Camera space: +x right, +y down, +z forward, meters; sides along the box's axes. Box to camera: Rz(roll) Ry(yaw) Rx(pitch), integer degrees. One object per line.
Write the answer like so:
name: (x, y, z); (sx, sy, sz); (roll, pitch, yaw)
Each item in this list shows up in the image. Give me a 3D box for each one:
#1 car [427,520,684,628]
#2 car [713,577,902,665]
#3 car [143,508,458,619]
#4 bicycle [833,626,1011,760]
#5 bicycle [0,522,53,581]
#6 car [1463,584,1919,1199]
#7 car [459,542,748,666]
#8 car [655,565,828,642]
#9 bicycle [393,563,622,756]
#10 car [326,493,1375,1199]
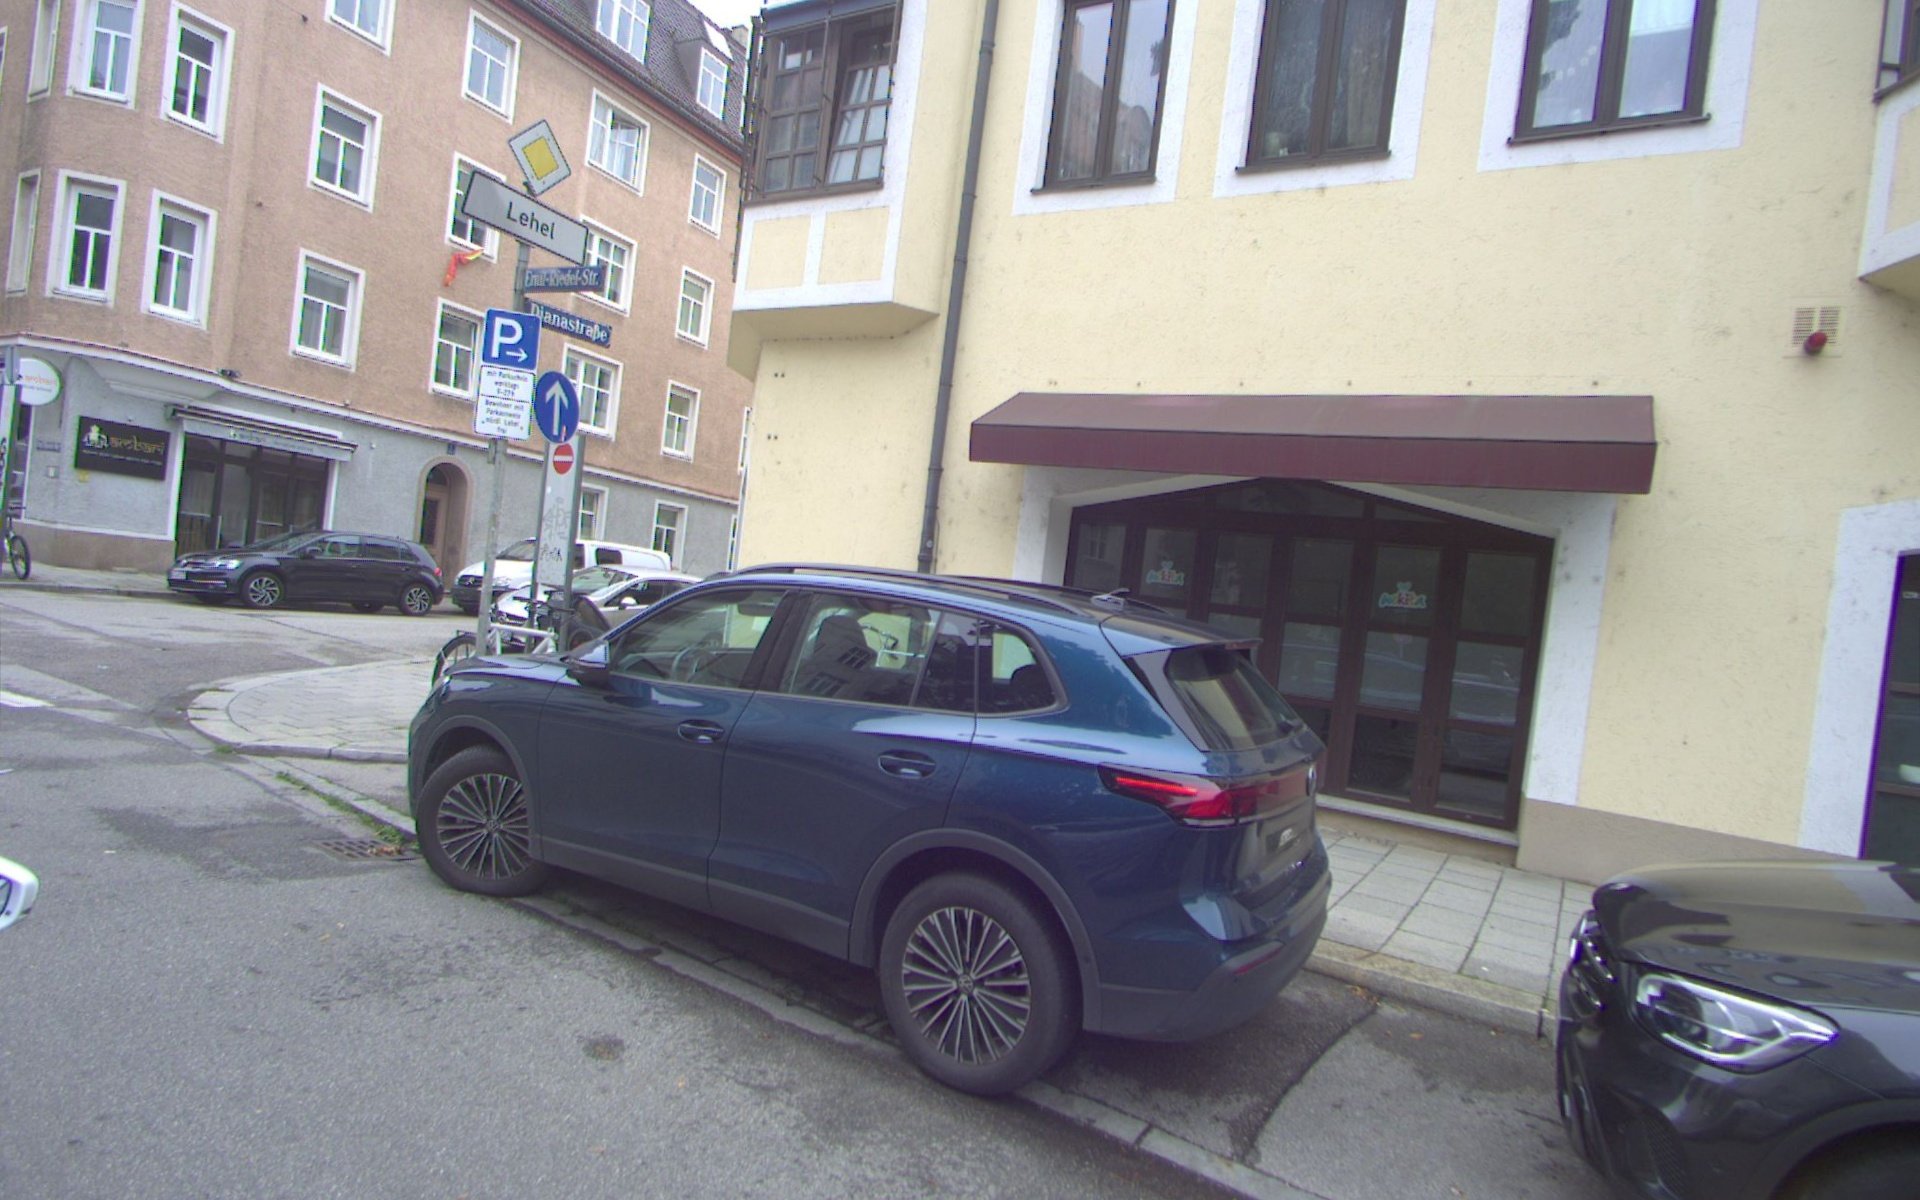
car: (-8.957, -0.502, 22.815); (2.064, 1.876, 5.136); (5, -1, 29)
car: (-3.062, 0.494, 20.915); (1.717, 1.394, 3.812); (9, 1, 31)
car: (-11.395, -0.566, 17.708); (1.893, 1.446, 4.177); (5, -1, 29)
bicycle: (-0.380, 0.839, 9.366); (1.656, 0.989, 0.271); (7, 0, 30)
bicycle: (-14.913, -0.785, 15.901); (1.304, 0.815, 0.457); (7, 0, 32)
car: (3.680, 1.083, 1.891); (4.630, 1.701, 1.757); (7, 1, 33)
car: (-5.510, 0.142, 16.045); (1.717, 1.475, 4.042); (9, 1, 31)
car: (-5.955, 0.150, 27.975); (2.064, 1.707, 4.616); (5, -1, 29)
bicycle: (-3.590, 0.424, 7.898); (1.962, 1.222, 0.514); (7, 0, 32)
car: (-0.700, 0.593, 4.587); (4.435, 1.701, 1.820); (7, 1, 31)
